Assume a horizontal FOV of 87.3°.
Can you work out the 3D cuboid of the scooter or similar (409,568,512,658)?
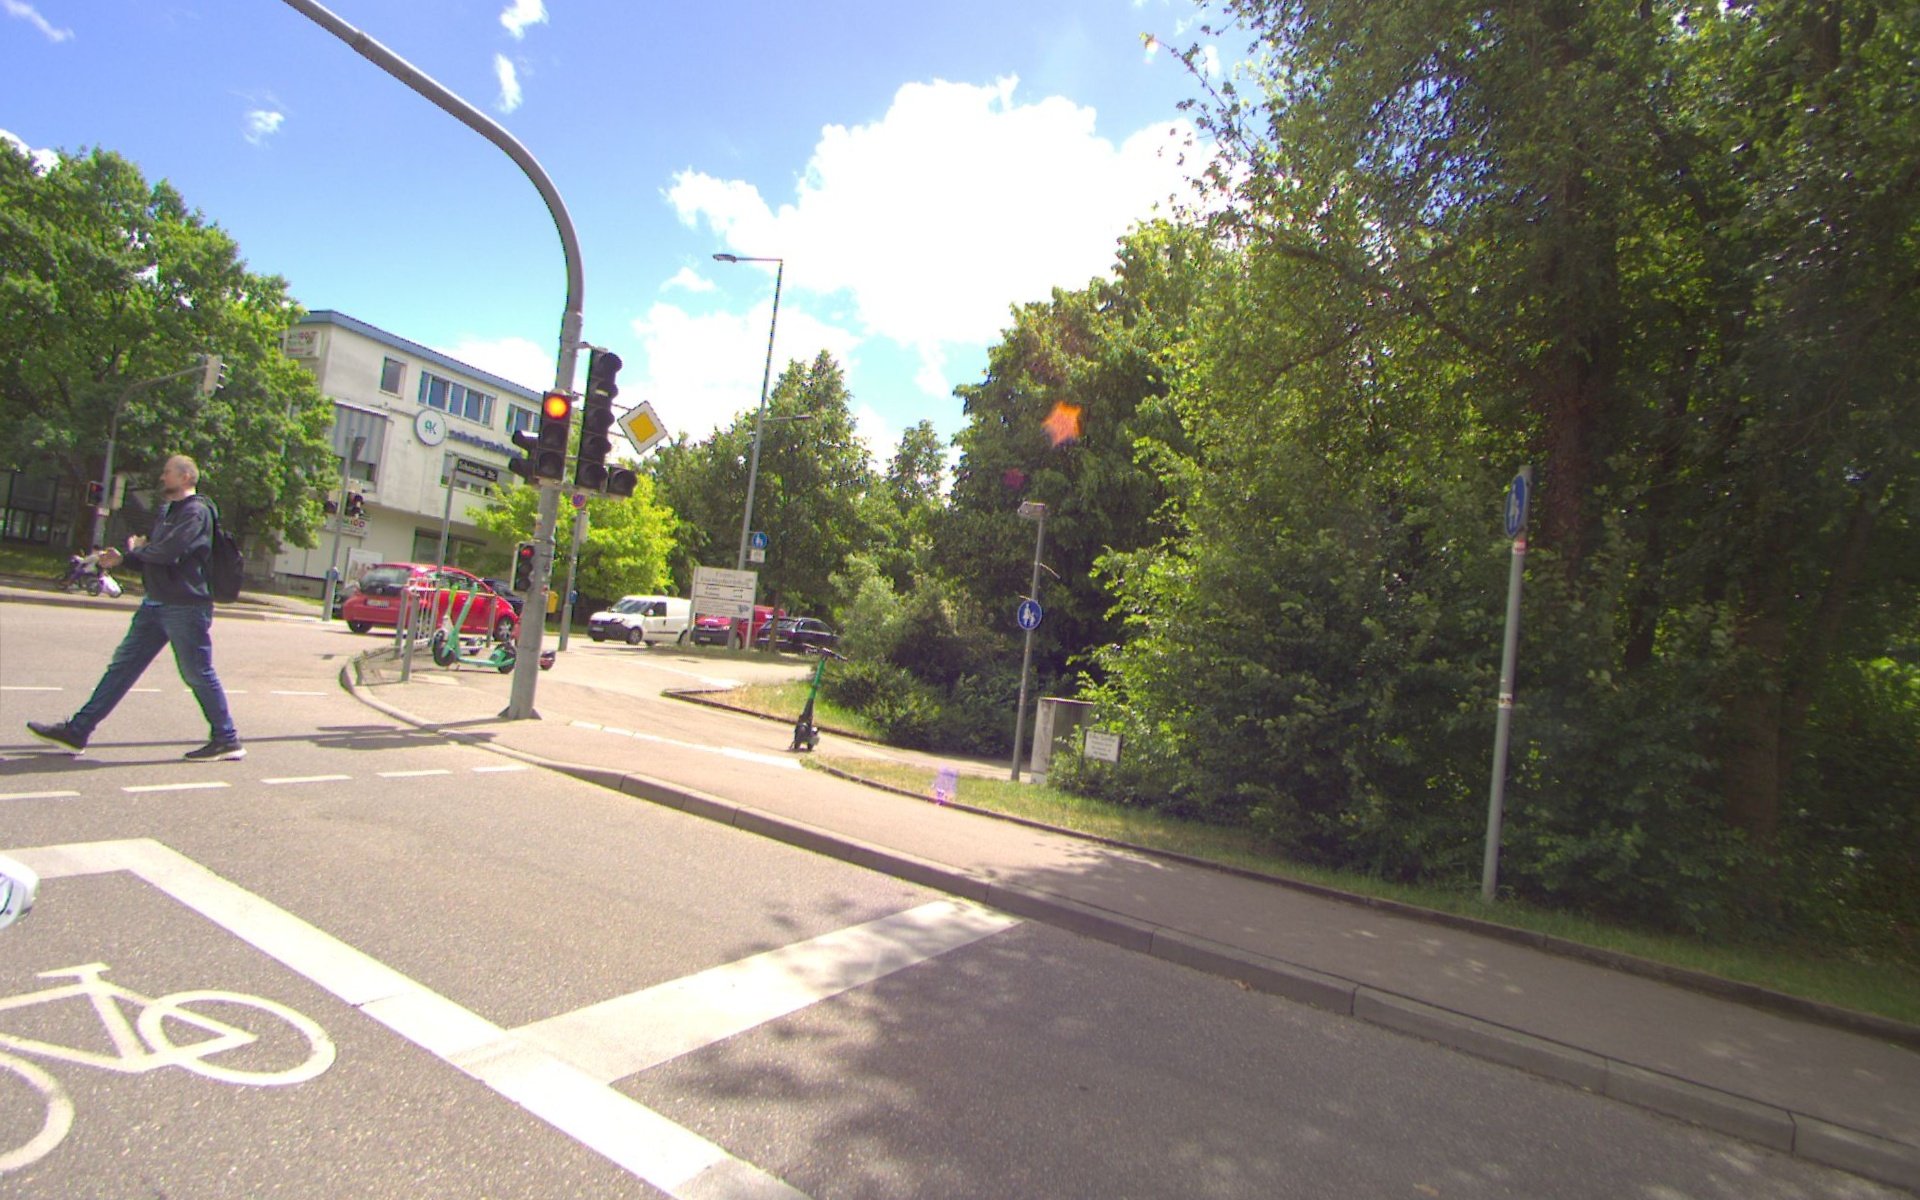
[{"bbox_3d":[-7.353,0.226,14.879,0.533,1.168,1.362,9,-3,7],"label":"scooter or similar"}]

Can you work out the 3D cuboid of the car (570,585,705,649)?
[{"bbox_3d":[-11.449,0.662,36.107,1.963,1.737,4.576,7,-2,22],"label":"car"}]

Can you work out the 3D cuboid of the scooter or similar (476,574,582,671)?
[{"bbox_3d":[-6.338,0.358,14.853,0.547,1.254,1.232,8,-3,23],"label":"scooter or similar"}]

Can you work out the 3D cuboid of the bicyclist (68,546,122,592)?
[{"bbox_3d":[-22.095,-0.788,25.708,0.625,1.034,0.793,7,-2,31],"label":"bicyclist"}]

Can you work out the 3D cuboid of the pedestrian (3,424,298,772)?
[{"bbox_3d":[-5.048,-0.001,6.315,0.881,1.964,0.969,7,-1,27],"label":"pedestrian"}]

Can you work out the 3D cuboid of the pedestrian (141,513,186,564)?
[{"bbox_3d":[-29.294,-2.257,37.004,0.890,1.662,0.772,7,-1,17],"label":"pedestrian"}]

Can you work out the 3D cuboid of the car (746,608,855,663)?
[{"bbox_3d":[-5.637,1.317,36.183,1.962,1.571,4.526,7,-2,17],"label":"car"}]

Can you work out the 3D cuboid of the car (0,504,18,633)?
[{"bbox_3d":[-10.511,-0.369,9.134,1.739,1.504,3.973,9,-2,-28],"label":"car"}]

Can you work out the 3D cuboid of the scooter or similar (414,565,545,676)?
[{"bbox_3d":[-6.285,0.293,13.219,0.455,1.292,1.344,8,-1,38],"label":"scooter or similar"}]

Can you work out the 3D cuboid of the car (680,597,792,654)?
[{"bbox_3d":[-9.101,1.097,41.329,1.964,1.885,4.822,5,-3,22],"label":"car"}]

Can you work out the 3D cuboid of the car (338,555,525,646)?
[{"bbox_3d":[-10.648,0.071,20.510,1.517,1.458,3.200,7,-2,13],"label":"car"}]

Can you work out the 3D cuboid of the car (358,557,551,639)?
[{"bbox_3d":[-14.351,0.001,28.863,1.964,1.737,4.574,7,-2,25],"label":"car"}]

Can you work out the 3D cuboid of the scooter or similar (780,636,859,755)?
[{"bbox_3d":[-1.744,1.192,12.485,0.706,1.287,1.243,10,-7,-8],"label":"scooter or similar"}]

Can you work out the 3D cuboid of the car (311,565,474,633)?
[{"bbox_3d":[-17.445,0.026,31.158,1.963,1.573,3.923,7,-2,21],"label":"car"}]

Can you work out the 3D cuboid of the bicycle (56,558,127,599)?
[{"bbox_3d":[-22.284,-0.552,25.799,1.778,0.828,0.793,6,-2,31],"label":"bicycle"}]
